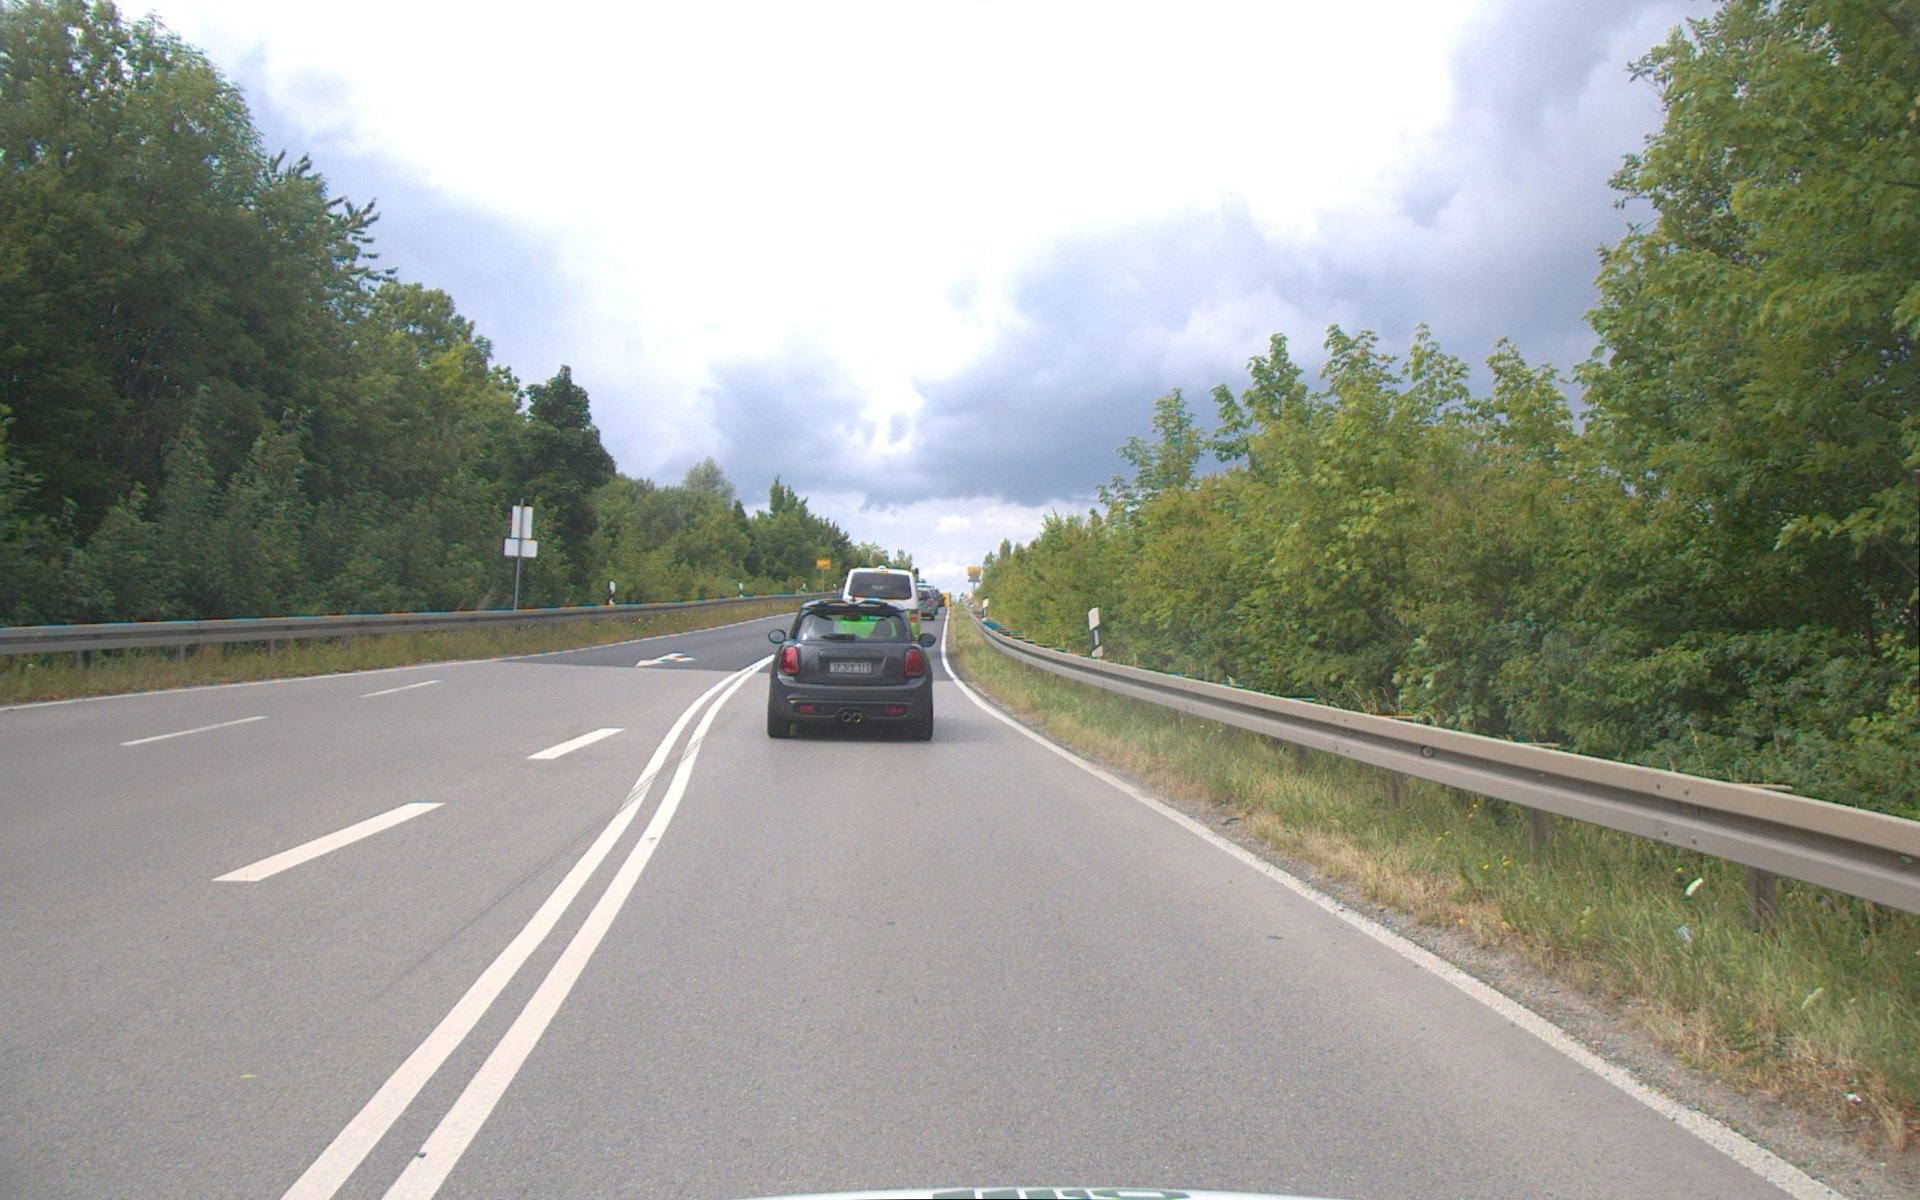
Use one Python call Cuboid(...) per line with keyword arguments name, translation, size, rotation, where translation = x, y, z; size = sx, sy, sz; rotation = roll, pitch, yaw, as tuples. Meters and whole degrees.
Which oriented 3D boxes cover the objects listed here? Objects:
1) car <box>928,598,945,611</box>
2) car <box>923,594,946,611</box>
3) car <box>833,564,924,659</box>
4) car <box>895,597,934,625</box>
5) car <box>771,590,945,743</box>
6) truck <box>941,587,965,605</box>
Cuboid(name="car", translation=(-2.521, 0.490, 178.169), size=(1.659, 1.342, 4.001), rotation=(1, 1, 2))
Cuboid(name="car", translation=(-2.048, 0.196, 134.573), size=(1.659, 1.342, 4.001), rotation=(1, 1, 2))
Cuboid(name="car", translation=(-1.886, 0.233, 38.919), size=(1.982, 2.048, 3.999), rotation=(2, 0, -2))
Cuboid(name="car", translation=(-2.102, 0.491, 77.246), size=(1.659, 1.243, 4.000), rotation=(1, 1, 0))
Cuboid(name="car", translation=(-1.218, 0.657, 18.427), size=(1.699, 1.481, 3.995), rotation=(1, 0, -6))
Cuboid(name="truck", translation=(-0.862, -0.566, 218.966), size=(2.850, 2.413, 10.453), rotation=(0, 0, 1))
